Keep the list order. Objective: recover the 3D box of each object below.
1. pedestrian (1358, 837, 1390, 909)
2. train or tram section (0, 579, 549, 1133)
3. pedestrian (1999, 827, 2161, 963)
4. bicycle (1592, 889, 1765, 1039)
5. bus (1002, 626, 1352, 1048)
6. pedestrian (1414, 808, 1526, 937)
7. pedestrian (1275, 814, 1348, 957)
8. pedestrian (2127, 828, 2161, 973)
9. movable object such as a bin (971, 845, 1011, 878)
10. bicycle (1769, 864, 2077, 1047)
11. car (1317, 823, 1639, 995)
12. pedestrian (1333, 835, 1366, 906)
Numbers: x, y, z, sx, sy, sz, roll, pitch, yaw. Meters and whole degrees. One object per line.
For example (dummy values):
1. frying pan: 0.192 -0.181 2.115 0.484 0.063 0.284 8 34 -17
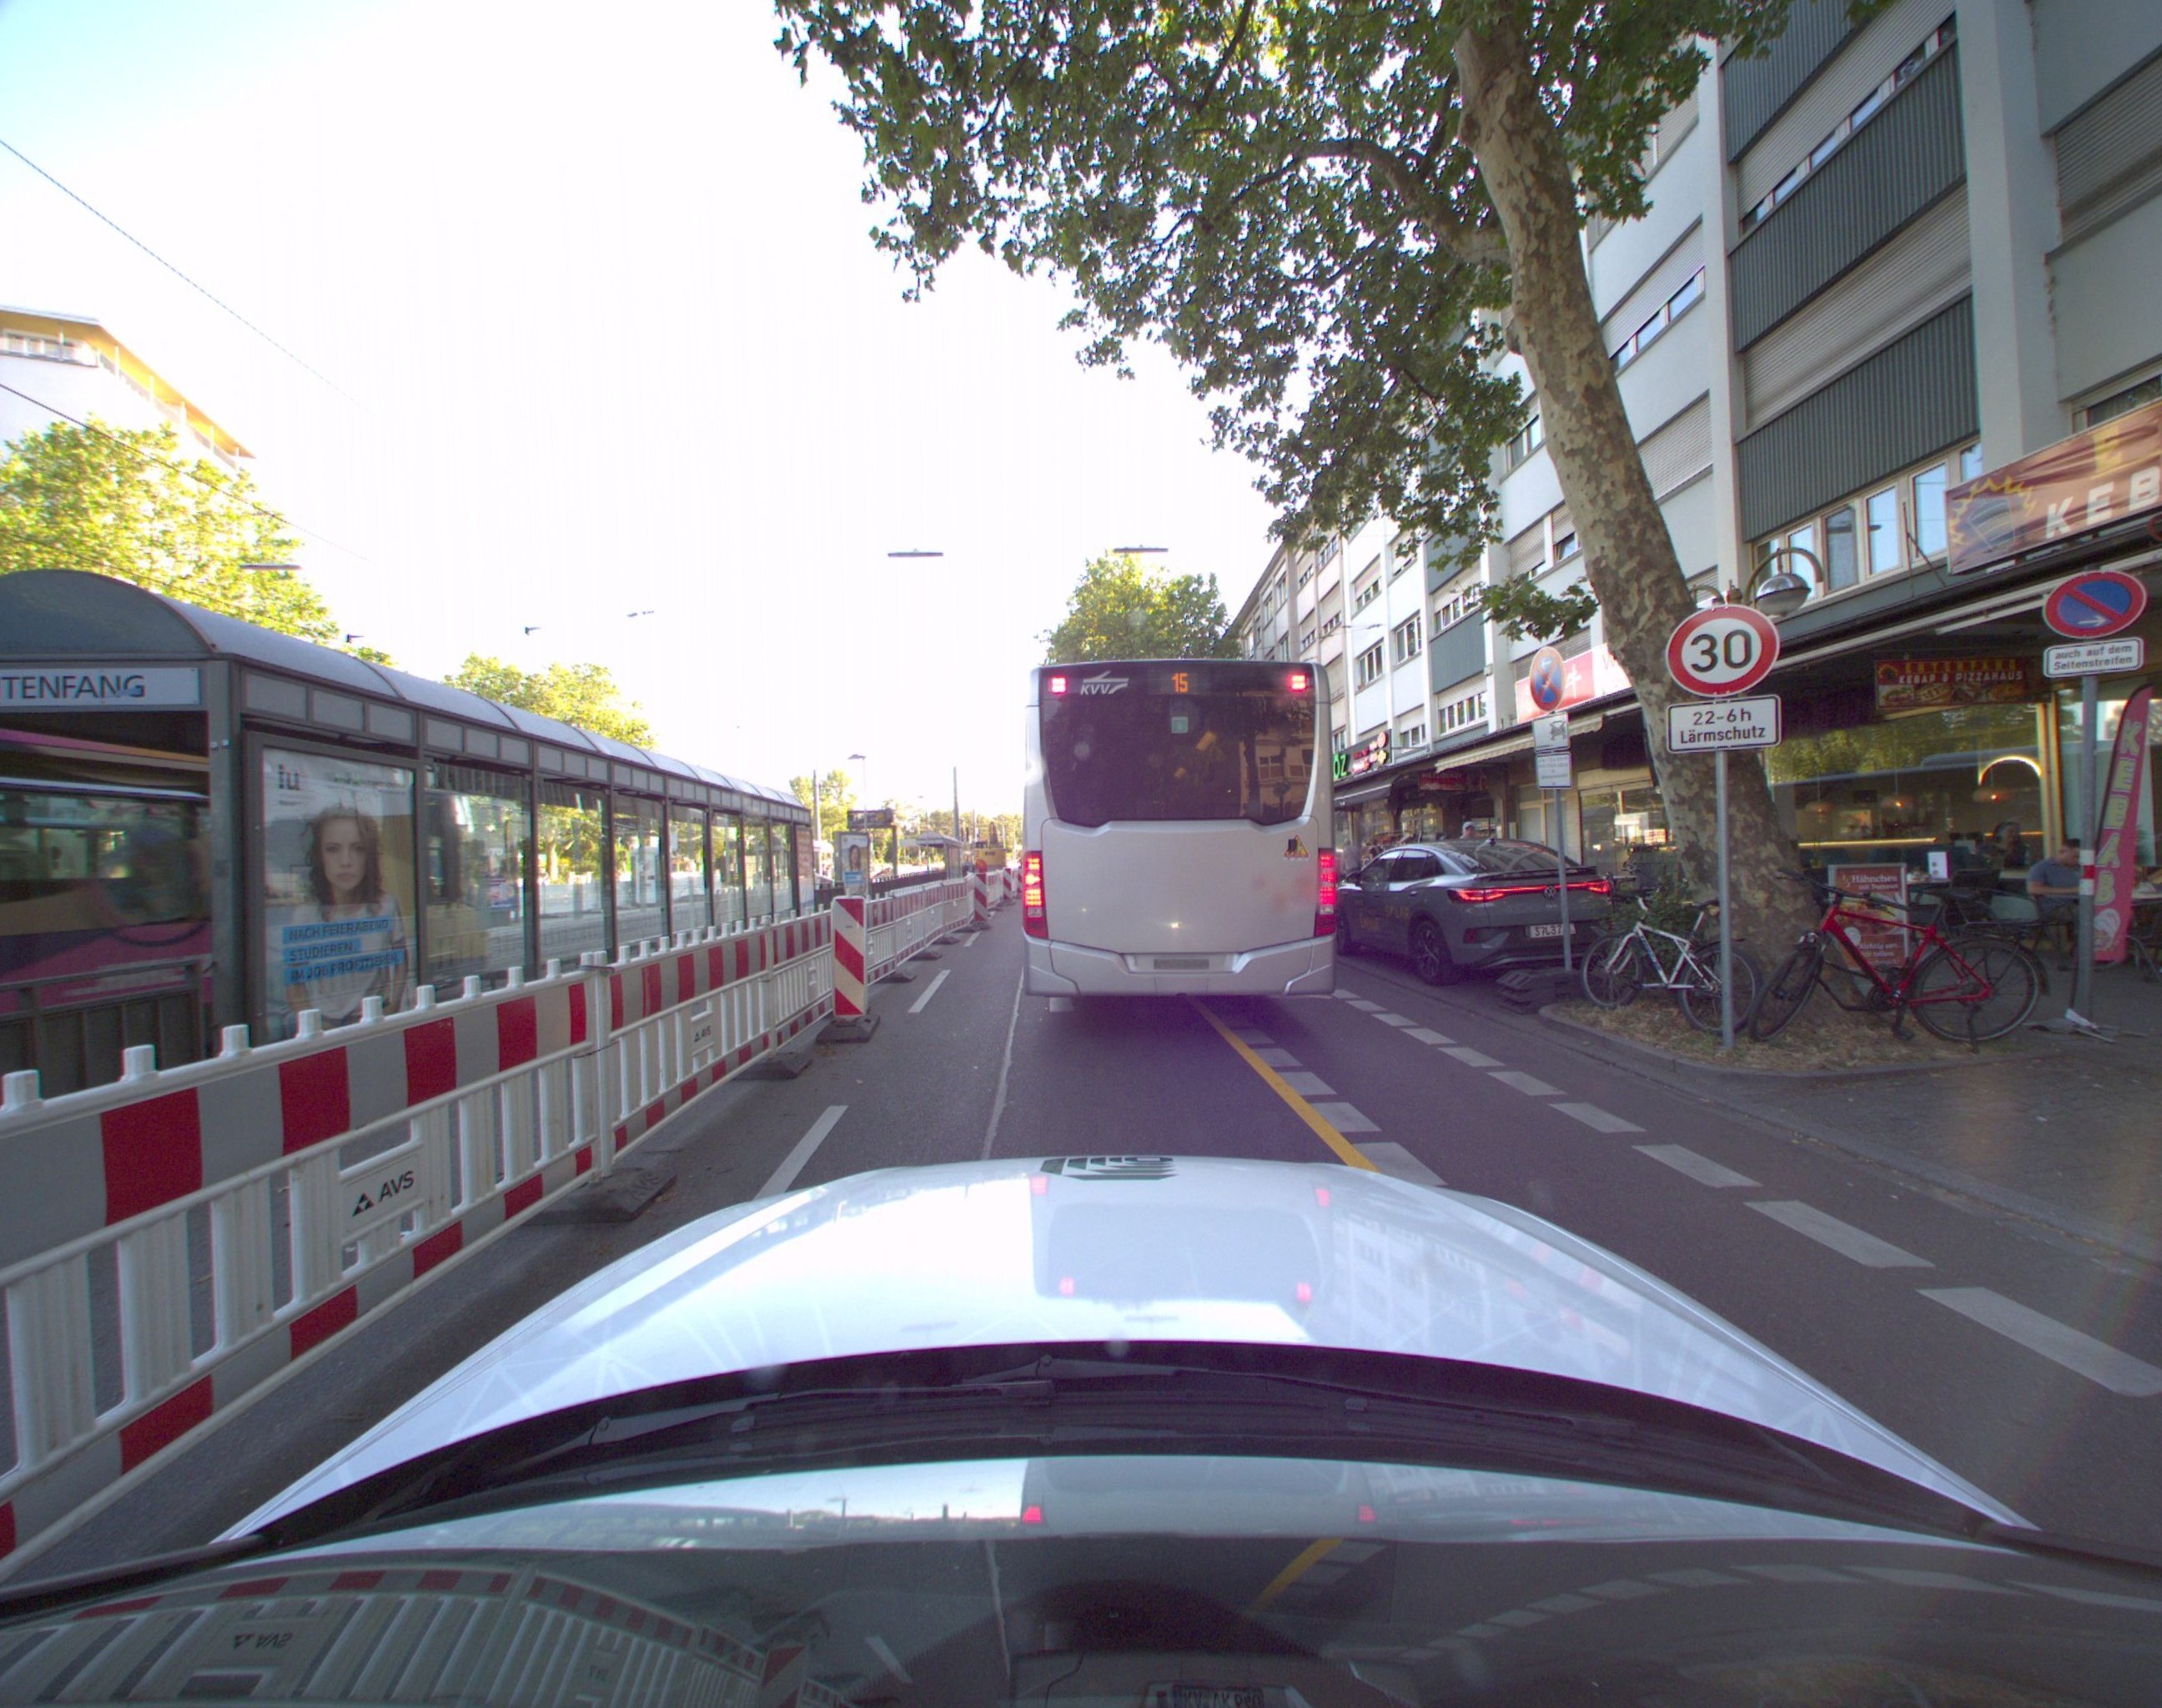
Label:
1. pedestrian: 8.471 0.548 23.587 0.610 2.014 0.696 -2 -1 1
2. train or tram section: -8.229 0.045 5.523 2.810 3.487 10.327 -2 0 -3
3. pedestrian: 9.630 0.381 7.850 0.673 1.203 0.706 -5 -1 11
4. bicycle: 4.488 0.784 6.191 0.294 0.927 1.127 -6 2 -8
5. bus: 0.923 -0.125 11.363 2.598 3.170 10.296 -1 0 2
6. pedestrian: 6.006 0.271 12.601 1.029 1.890 1.111 -2 -1 -31
7. pedestrian: 3.392 0.450 12.049 0.766 2.013 0.714 -3 -1 1
8. pedestrian: 9.568 0.385 6.813 0.612 1.243 0.714 -5 -1 11
9. movable object such as a bin: -7.048 0.591 64.007 2.800 2.462 3.995 -2 0 -3
10. bicycle: 5.501 0.672 5.372 1.450 1.066 0.297 -6 2 13
11. car: 4.610 0.559 10.315 1.736 1.597 4.294 -4 0 -3
12. pedestrian: 7.770 0.469 23.590 0.688 2.014 0.696 -2 -1 1
